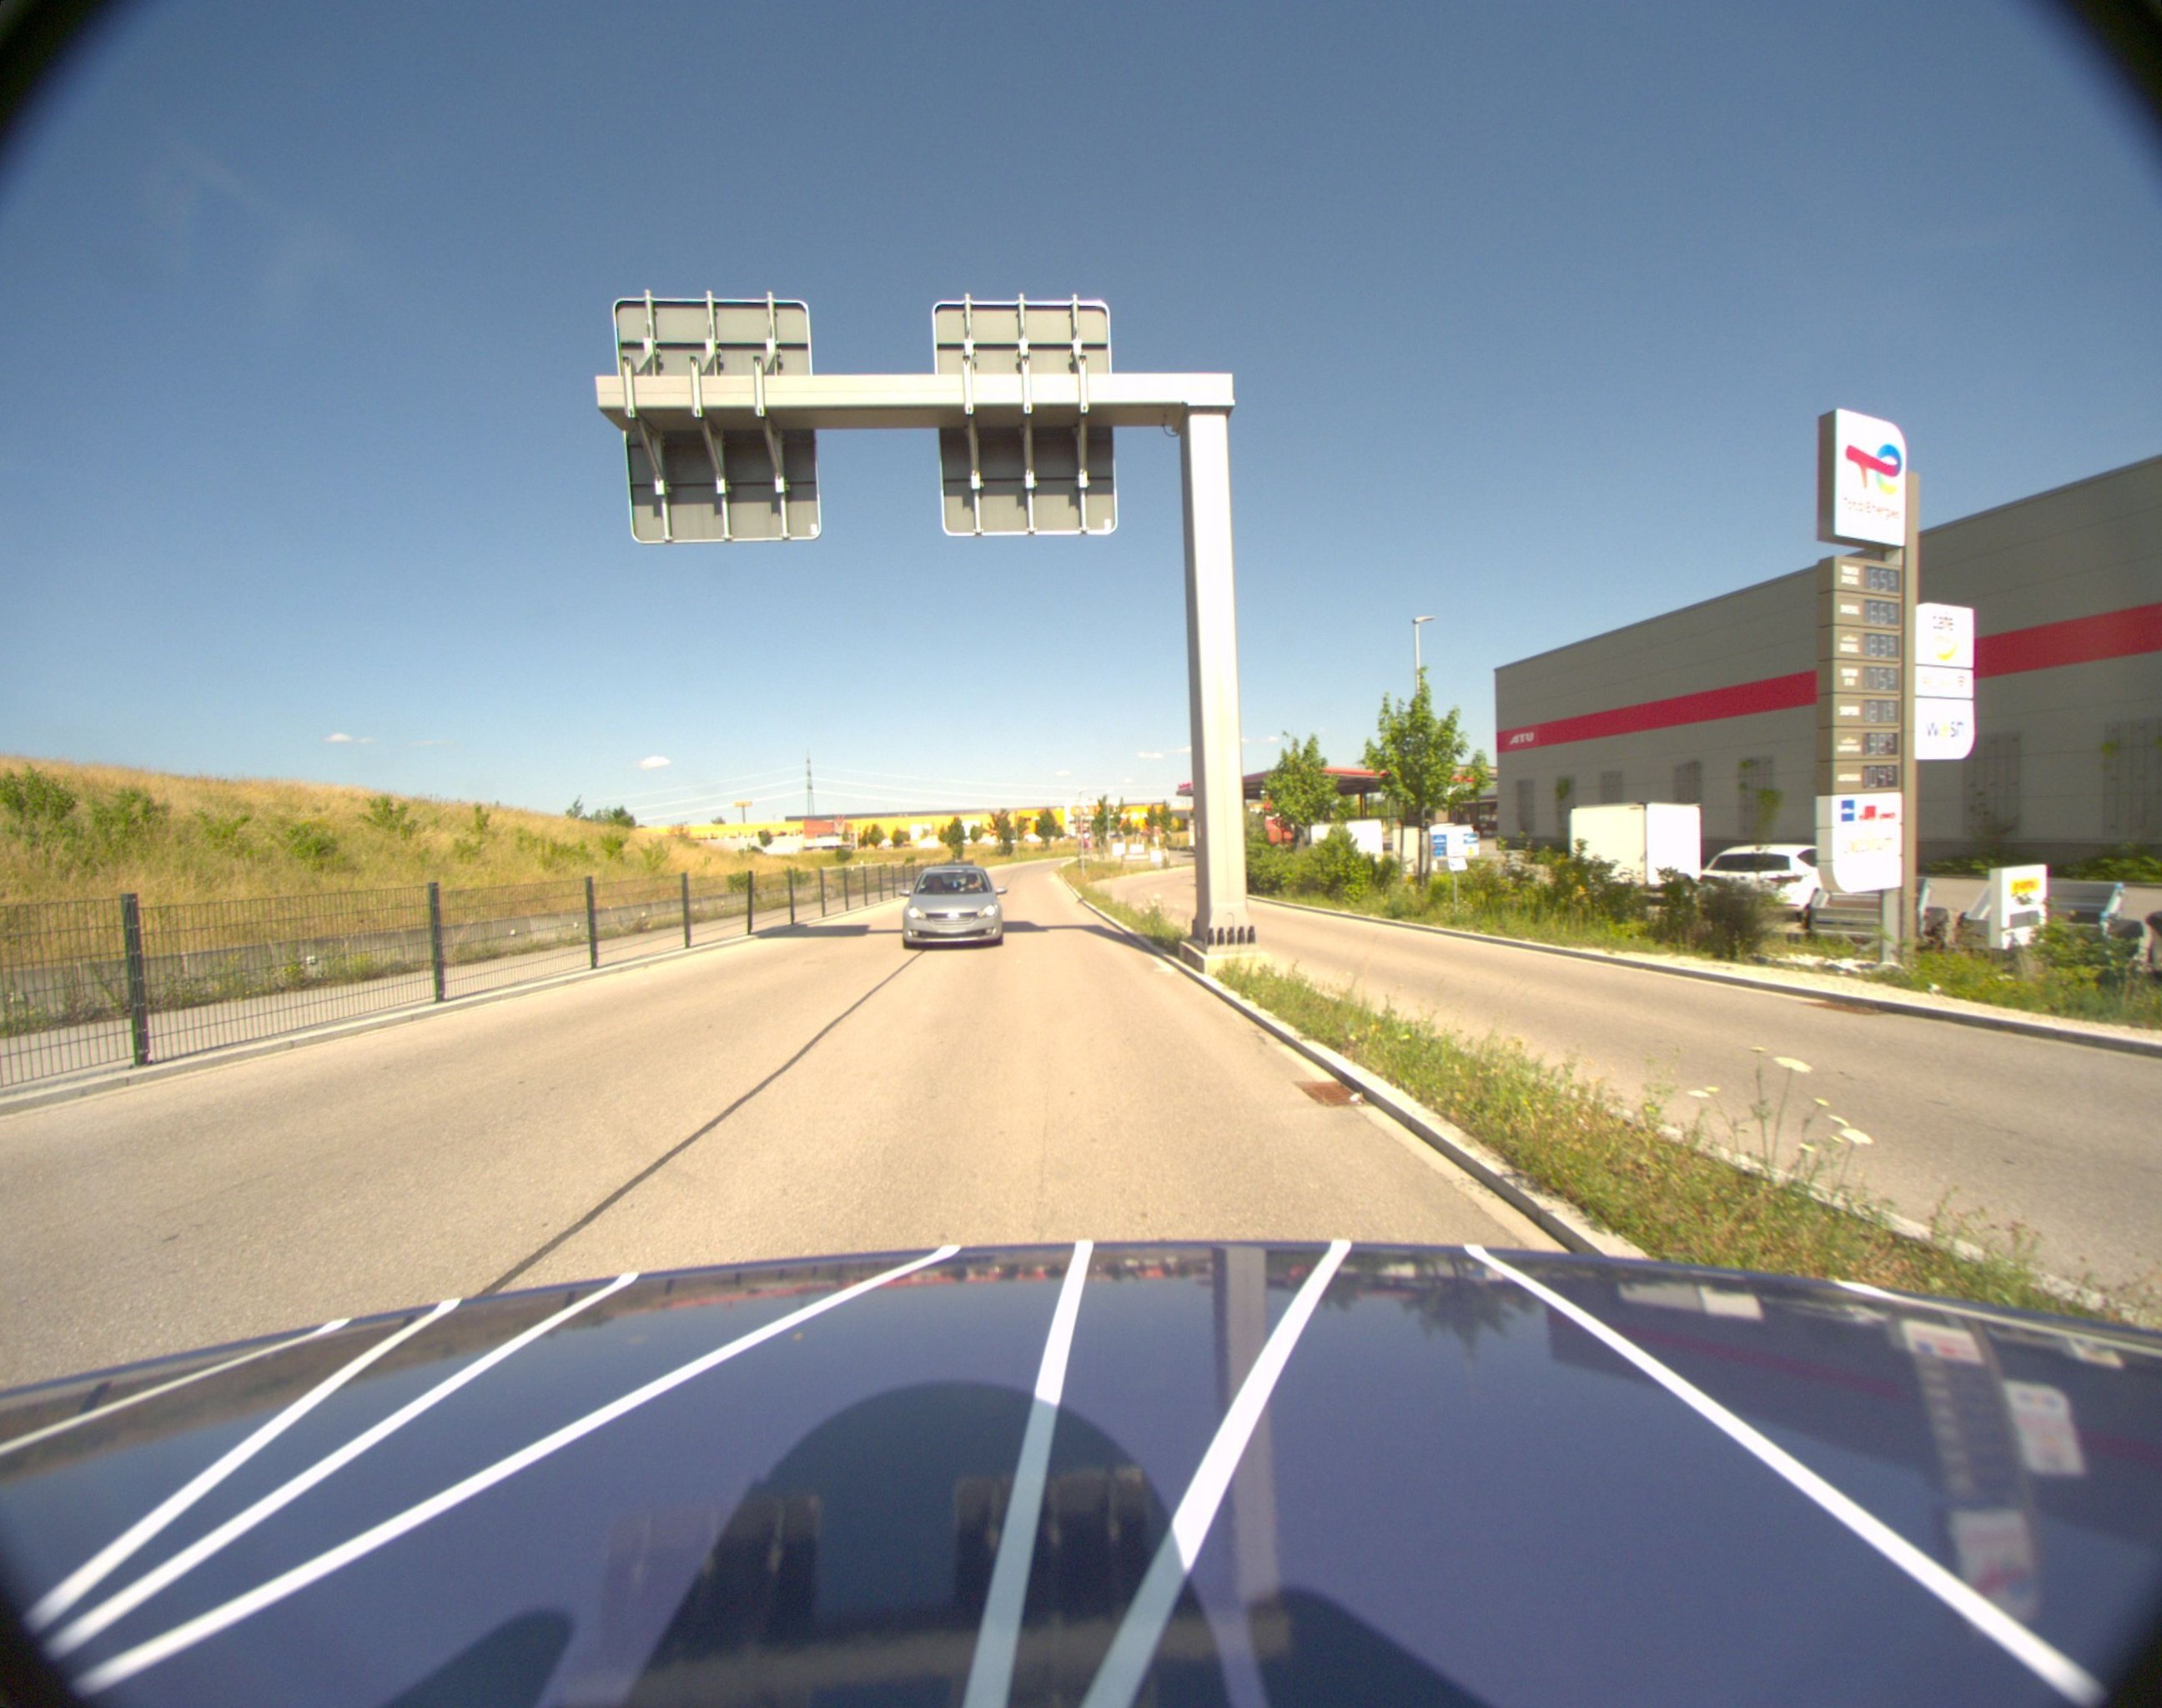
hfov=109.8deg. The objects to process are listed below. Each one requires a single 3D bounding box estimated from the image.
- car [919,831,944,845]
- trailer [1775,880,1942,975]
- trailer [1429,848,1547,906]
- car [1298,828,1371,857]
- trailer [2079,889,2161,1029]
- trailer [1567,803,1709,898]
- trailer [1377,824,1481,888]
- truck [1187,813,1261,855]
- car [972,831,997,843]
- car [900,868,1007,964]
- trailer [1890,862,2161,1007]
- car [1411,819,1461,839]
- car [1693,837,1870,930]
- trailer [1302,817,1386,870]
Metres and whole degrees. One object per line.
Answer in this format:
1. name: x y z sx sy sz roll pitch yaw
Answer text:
1. car: -29.144 -3.157 148.218 4.636 2.534 1.998 -3 1 -9
2. trailer: 11.992 1.045 11.698 2.780 1.079 1.317 -4 2 -34
3. trailer: 12.782 0.684 23.801 3.605 1.501 1.596 -4 1 -31
4. car: 17.851 -0.814 53.564 4.521 1.748 1.794 -3 1 -8
5. trailer: 12.792 1.113 8.346 2.914 1.314 1.387 -3 1 -20
6. trailer: 13.299 -0.127 18.101 3.245 2.002 1.743 -4 2 -35
7. trailer: 11.963 0.047 26.110 2.740 2.002 1.995 -4 2 -31
8. truck: 12.368 -1.797 65.308 6.918 3.299 2.634 -4 2 -45
9. car: -18.946 -3.328 149.269 4.636 2.002 1.998 -3 1 -9
10. car: -2.476 1.064 14.668 1.748 1.459 3.956 0 1 -10
11. trailer: 12.561 0.944 10.095 3.194 1.475 1.545 -3 1 -25
12. car: 32.547 -2.269 69.693 3.683 1.565 1.696 -3 1 2
13. car: 14.421 0.528 15.589 4.006 1.527 1.715 -4 2 -33
14. trailer: 10.960 -0.446 31.597 3.212 2.002 1.994 -4 2 -43
